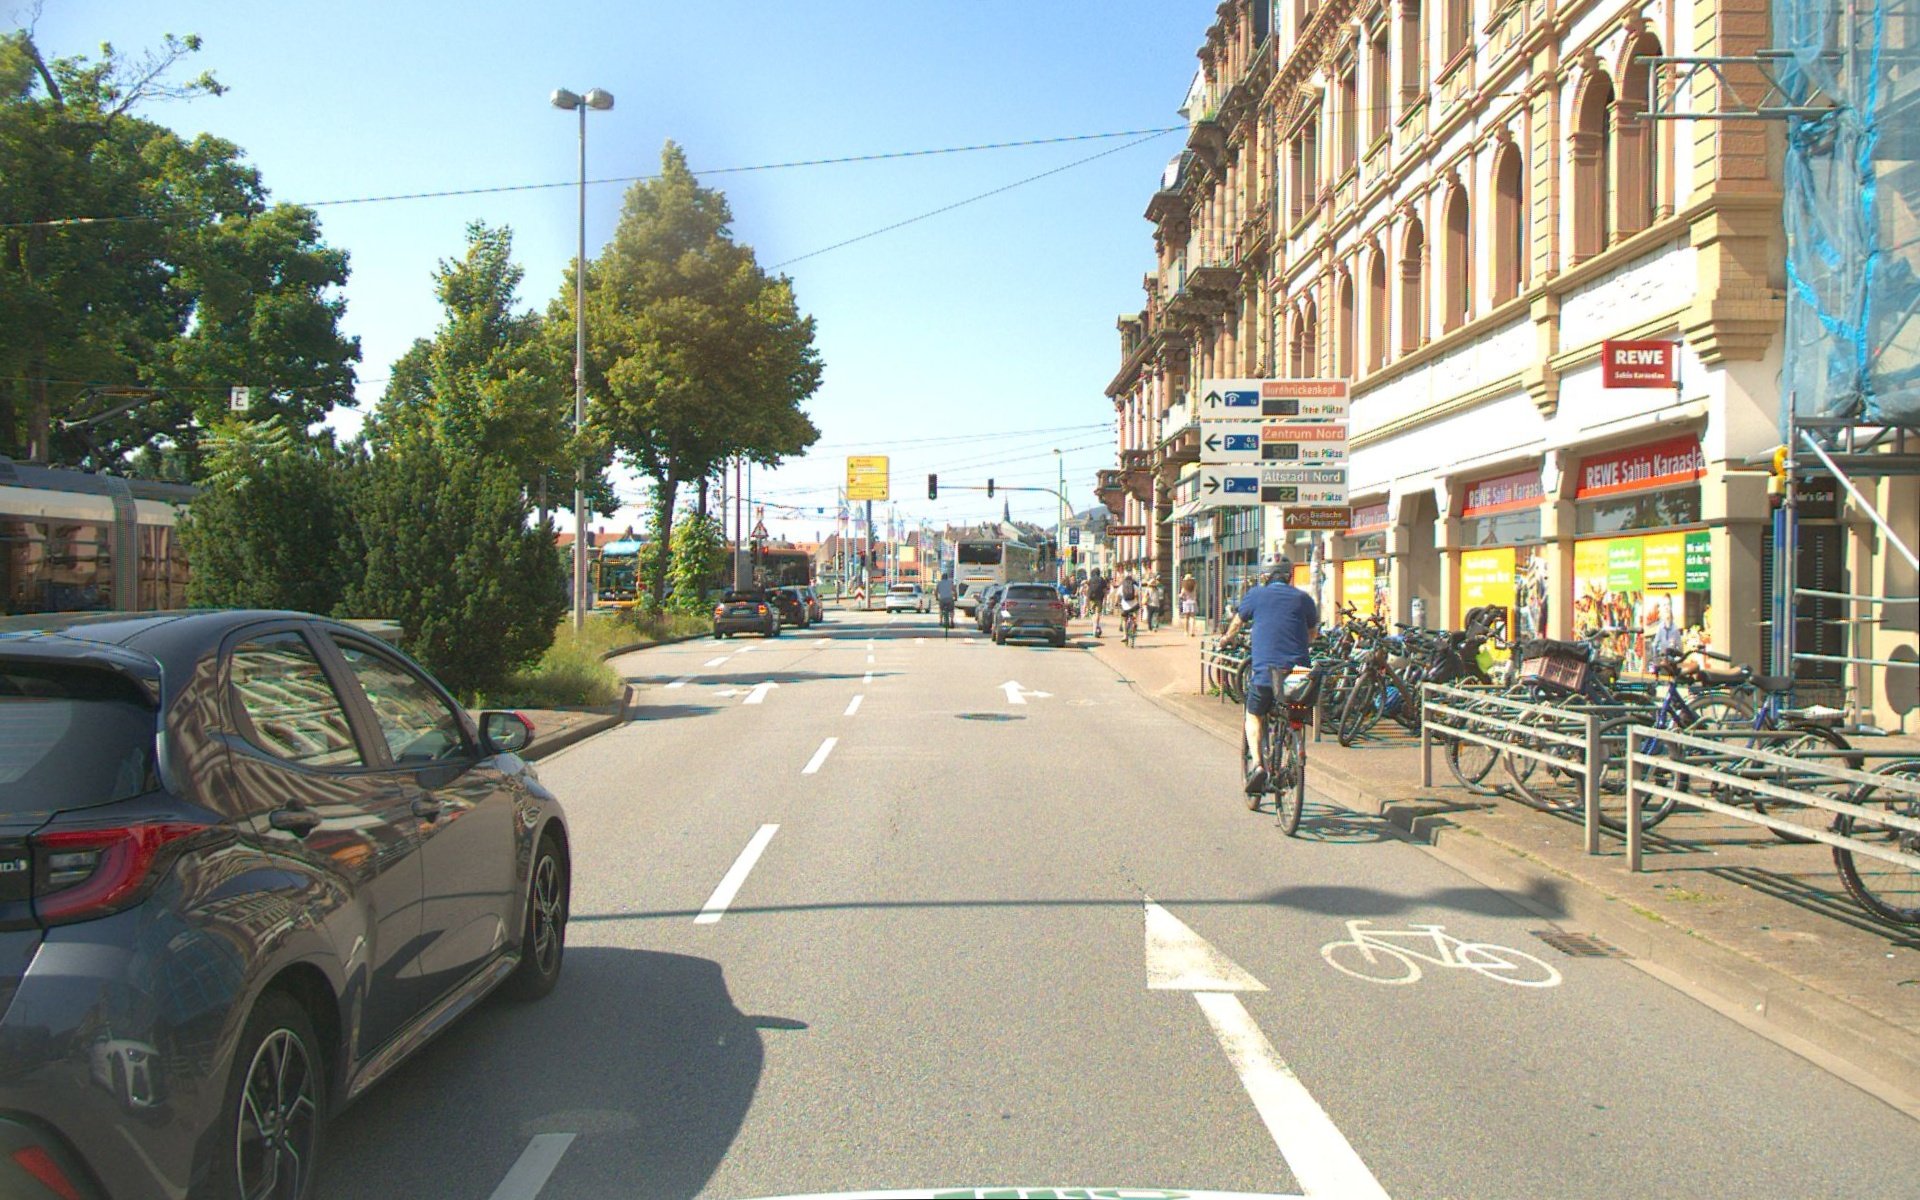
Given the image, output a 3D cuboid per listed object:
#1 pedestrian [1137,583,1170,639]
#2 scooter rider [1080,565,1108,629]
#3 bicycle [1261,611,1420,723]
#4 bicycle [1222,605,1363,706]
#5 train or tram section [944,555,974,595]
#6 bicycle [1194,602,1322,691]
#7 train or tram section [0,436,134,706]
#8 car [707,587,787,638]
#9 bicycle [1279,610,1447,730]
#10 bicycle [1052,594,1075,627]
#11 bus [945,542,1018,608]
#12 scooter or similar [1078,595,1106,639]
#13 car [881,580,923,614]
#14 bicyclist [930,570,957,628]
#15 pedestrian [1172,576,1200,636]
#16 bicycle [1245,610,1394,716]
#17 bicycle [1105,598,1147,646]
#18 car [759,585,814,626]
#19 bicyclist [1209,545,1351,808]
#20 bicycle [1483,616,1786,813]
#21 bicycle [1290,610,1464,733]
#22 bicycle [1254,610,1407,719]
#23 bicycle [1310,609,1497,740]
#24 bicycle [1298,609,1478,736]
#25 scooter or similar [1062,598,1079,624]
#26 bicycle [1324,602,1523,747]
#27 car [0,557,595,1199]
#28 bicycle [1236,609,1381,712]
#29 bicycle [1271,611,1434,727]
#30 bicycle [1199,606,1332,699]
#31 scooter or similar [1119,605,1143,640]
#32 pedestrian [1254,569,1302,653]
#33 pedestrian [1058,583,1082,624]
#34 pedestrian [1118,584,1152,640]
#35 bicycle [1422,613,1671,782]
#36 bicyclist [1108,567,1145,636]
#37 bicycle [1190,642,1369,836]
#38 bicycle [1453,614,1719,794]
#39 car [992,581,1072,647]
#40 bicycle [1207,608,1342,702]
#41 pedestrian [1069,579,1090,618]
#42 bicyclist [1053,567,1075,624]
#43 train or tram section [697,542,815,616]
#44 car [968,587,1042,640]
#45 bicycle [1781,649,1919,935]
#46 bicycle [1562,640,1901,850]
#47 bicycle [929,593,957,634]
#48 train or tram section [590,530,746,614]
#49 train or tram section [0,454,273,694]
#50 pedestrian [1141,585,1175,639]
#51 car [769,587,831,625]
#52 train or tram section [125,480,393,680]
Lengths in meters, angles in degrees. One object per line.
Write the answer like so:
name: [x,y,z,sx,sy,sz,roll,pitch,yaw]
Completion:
pedestrian: [5.848,0.337,50.008,0.845,1.669,0.875,1,0,-2]
scooter rider: [3.767,-0.084,46.673,0.674,1.759,0.778,3,-1,2]
bicycle: [4.324,0.753,18.846,1.659,1.199,0.514,2,-1,0]
bicycle: [4.222,0.698,21.038,1.659,1.199,0.469,2,-1,-1]
train or tram section: [-0.049,-2.570,172.599,2.764,3.843,8.227,3,0,1]
bicycle: [4.120,0.638,22.920,1.658,1.199,0.608,1,0,0]
train or tram section: [-14.243,-0.448,22.769,2.560,3.643,6.102,3,-1,-1]
car: [-6.275,0.379,49.172,1.778,1.355,4.000,3,-1,0]
bicycle: [4.311,0.744,17.733,1.659,1.199,0.463,2,-1,0]
bicycle: [3.695,0.383,59.081,0.719,1.112,1.898,3,-1,2]
bus: [1.122,-1.122,79.762,2.907,2.825,8.645,3,-1,4]
scooter or similar: [3.723,0.468,46.626,0.674,1.188,1.464,3,-1,2]
car: [-2.909,-0.126,83.563,1.820,1.533,4.000,3,-1,1]
bicyclist: [-0.471,-0.029,47.210,0.674,1.604,1.049,3,-1,-2]
pedestrian: [6.242,0.169,45.753,0.641,1.649,0.815,0,0,-2]
bicycle: [4.334,0.752,19.977,1.659,1.199,0.460,2,-1,0]
bicycle: [3.980,0.525,39.771,0.719,1.112,1.897,3,-1,-1]
car: [-6.090,0.222,58.470,1.422,1.323,4.000,3,-1,0]
bicyclist: [2.111,0.495,11.015,0.674,1.644,0.918,3,-1,-2]
bicycle: [4.456,0.743,10.987,1.735,1.199,0.608,2,-1,0]
bicycle: [4.326,0.737,17.212,1.659,1.199,0.451,2,-1,0]
bicycle: [4.335,0.755,19.413,1.659,1.199,0.459,2,-1,0]
bicycle: [4.320,0.718,16.153,1.659,1.199,0.497,2,-1,0]
bicycle: [4.311,0.722,16.705,1.659,1.199,0.490,2,-1,0]
scooter or similar: [4.651,0.455,69.759,0.588,1.066,0.799,3,-1,-3]
bicycle: [4.333,0.687,15.516,1.659,1.262,0.608,2,-1,0]
car: [-2.350,0.691,4.969,1.741,1.501,3.998,0,-1,-2]
bicycle: [4.310,0.739,20.508,1.659,1.199,0.469,2,-1,-1]
bicycle: [4.325,0.757,18.254,1.659,1.199,0.457,2,-1,0]
bicycle: [4.106,0.697,22.288,1.658,1.199,0.608,-1,0,0]
scooter or similar: [5.379,0.714,51.981,0.588,1.066,0.799,3,-1,-3]
pedestrian: [6.515,0.233,33.915,0.740,1.685,0.837,-2,-1,-2]
pedestrian: [4.680,0.160,70.471,0.845,1.669,0.875,3,-1,-2]
pedestrian: [5.440,0.372,51.404,0.845,1.669,0.875,3,-1,-2]
bicycle: [4.468,0.731,12.667,1.659,1.199,0.608,2,-1,0]
bicyclist: [4.005,0.046,39.815,0.674,1.604,1.049,3,-1,-1]
bicycle: [2.088,0.873,11.062,0.719,1.112,1.910,3,-1,-2]
bicycle: [4.494,0.730,11.928,1.659,1.199,0.608,2,-1,0]
car: [1.814,0.367,42.545,1.835,1.518,4.000,3,-1,0]
bicycle: [4.100,0.707,21.634,1.658,1.199,0.608,0,0,0]
pedestrian: [5.199,-0.054,72.000,0.845,1.669,0.875,0,0,-2]
bicyclist: [3.716,-0.166,58.976,0.674,1.996,0.778,3,-1,2]
train or tram section: [-11.164,-1.096,91.462,2.765,3.643,8.224,3,-1,21]
car: [1.371,0.426,52.534,1.954,1.518,3.997,3,-1,-3]
bicycle: [4.468,0.809,6.957,1.703,1.128,0.608,2,-1,0]
bicycle: [4.447,0.823,9.595,1.659,1.106,0.608,2,-1,0]
bicycle: [-0.497,0.373,47.272,0.719,1.112,1.897,3,-1,-2]
train or tram section: [-14.456,-1.306,82.964,2.765,3.643,10.031,3,-1,21]
train or tram section: [-14.311,-0.397,28.524,2.560,3.643,5.355,3,-1,-1]
pedestrian: [6.271,0.374,52.425,0.845,1.669,0.875,3,-1,-2]
car: [-6.325,0.240,65.765,1.995,1.355,4.000,3,-1,0]
train or tram section: [-14.402,-0.345,34.653,2.560,3.643,6.896,3,-1,-1]
